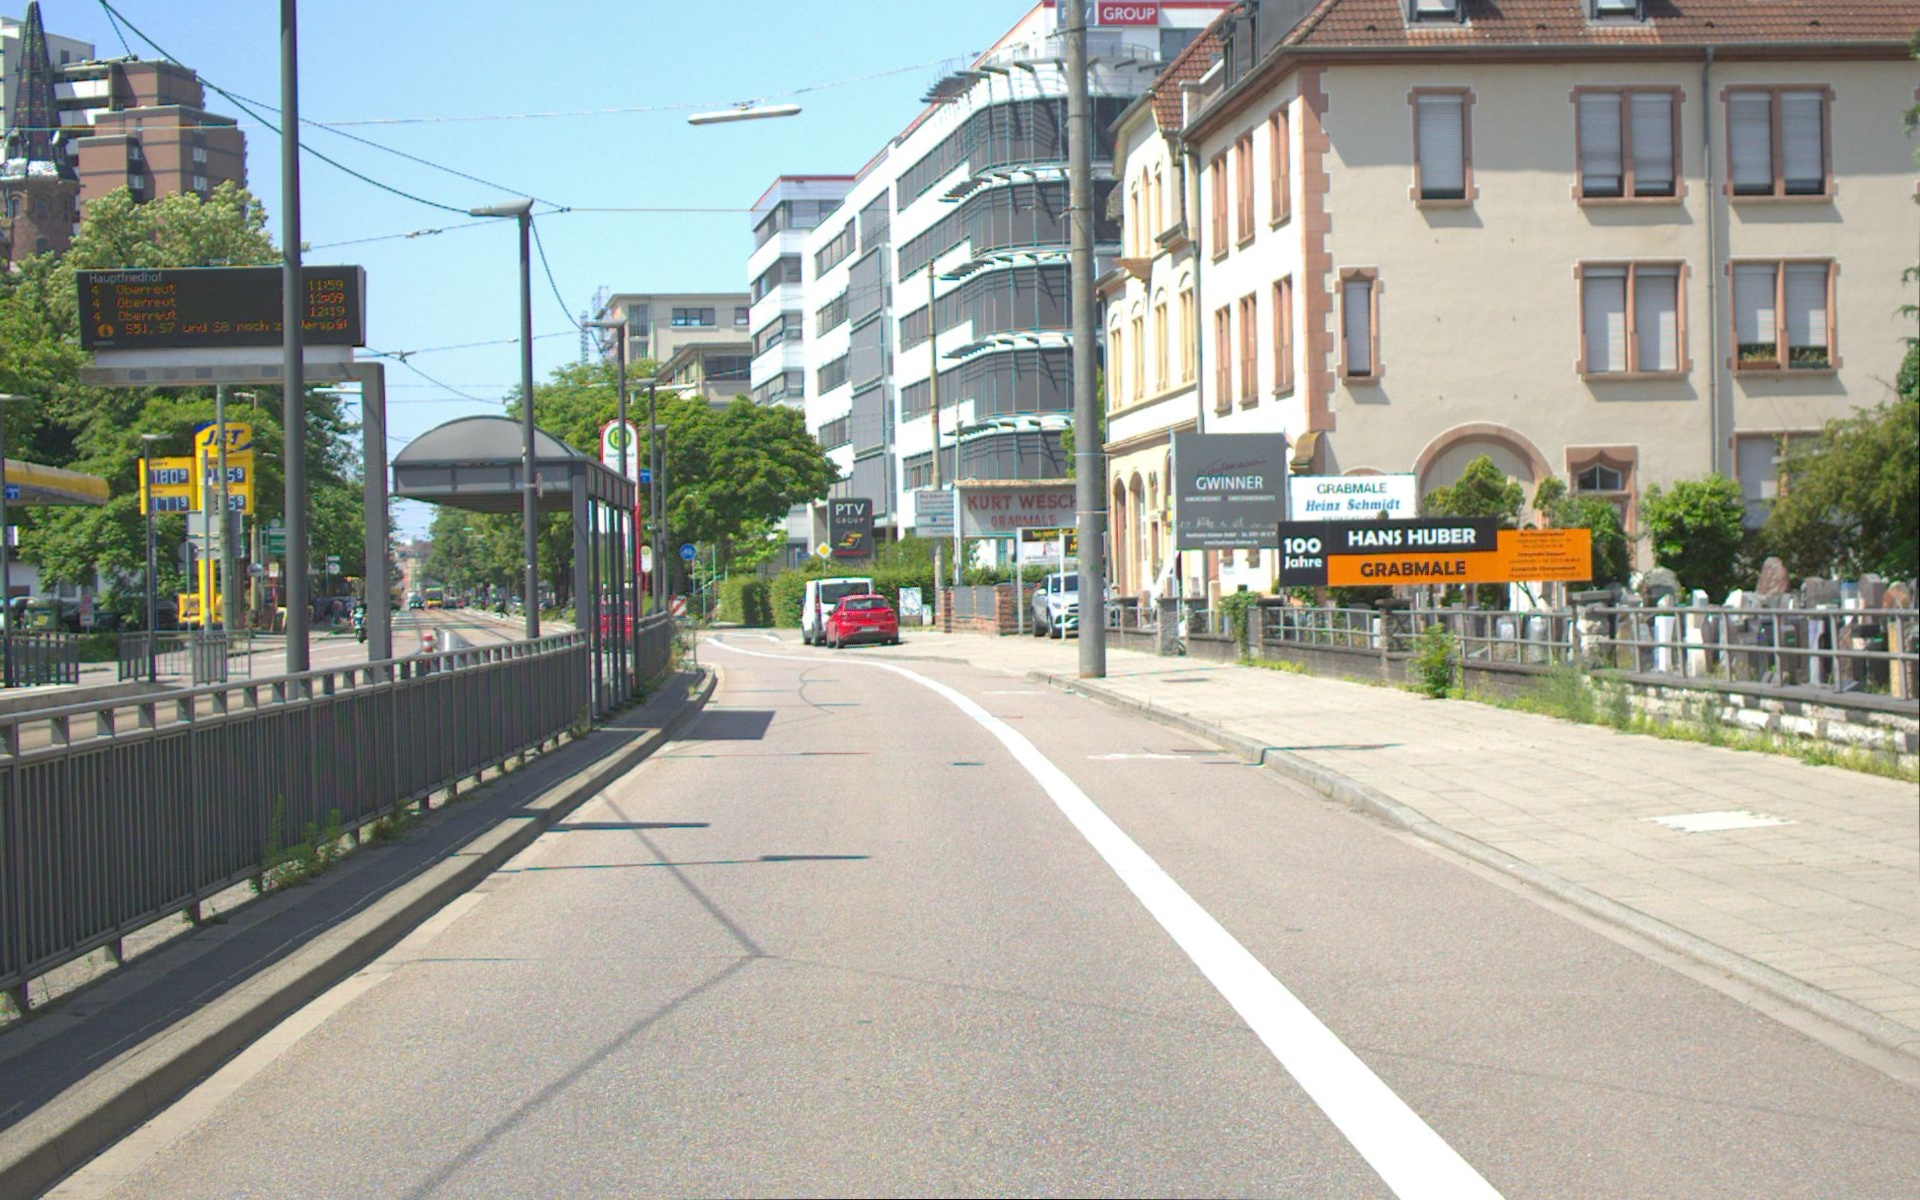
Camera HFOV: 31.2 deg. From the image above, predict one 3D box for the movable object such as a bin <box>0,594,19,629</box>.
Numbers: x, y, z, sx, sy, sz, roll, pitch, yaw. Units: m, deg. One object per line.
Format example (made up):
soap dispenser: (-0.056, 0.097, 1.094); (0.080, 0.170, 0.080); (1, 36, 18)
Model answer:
movable object such as a bin: (-37.612, 0.441, 134.528); (1.344, 1.349, 0.758); (-1, 0, 3)

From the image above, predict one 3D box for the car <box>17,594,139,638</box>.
car: (-34.410, 0.607, 134.251); (1.997, 1.584, 4.325); (-1, 0, 36)

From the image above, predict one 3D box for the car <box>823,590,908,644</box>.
car: (-2.661, 0.456, 96.124); (1.993, 1.437, 4.017); (-1, 0, -7)

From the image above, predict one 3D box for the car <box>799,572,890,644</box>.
car: (-3.489, 0.219, 102.750); (1.993, 1.985, 5.516); (-3, 1, -9)

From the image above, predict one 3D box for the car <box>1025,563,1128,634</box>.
car: (2.903, -0.051, 86.653); (1.877, 1.619, 4.640); (-4, 0, -6)
